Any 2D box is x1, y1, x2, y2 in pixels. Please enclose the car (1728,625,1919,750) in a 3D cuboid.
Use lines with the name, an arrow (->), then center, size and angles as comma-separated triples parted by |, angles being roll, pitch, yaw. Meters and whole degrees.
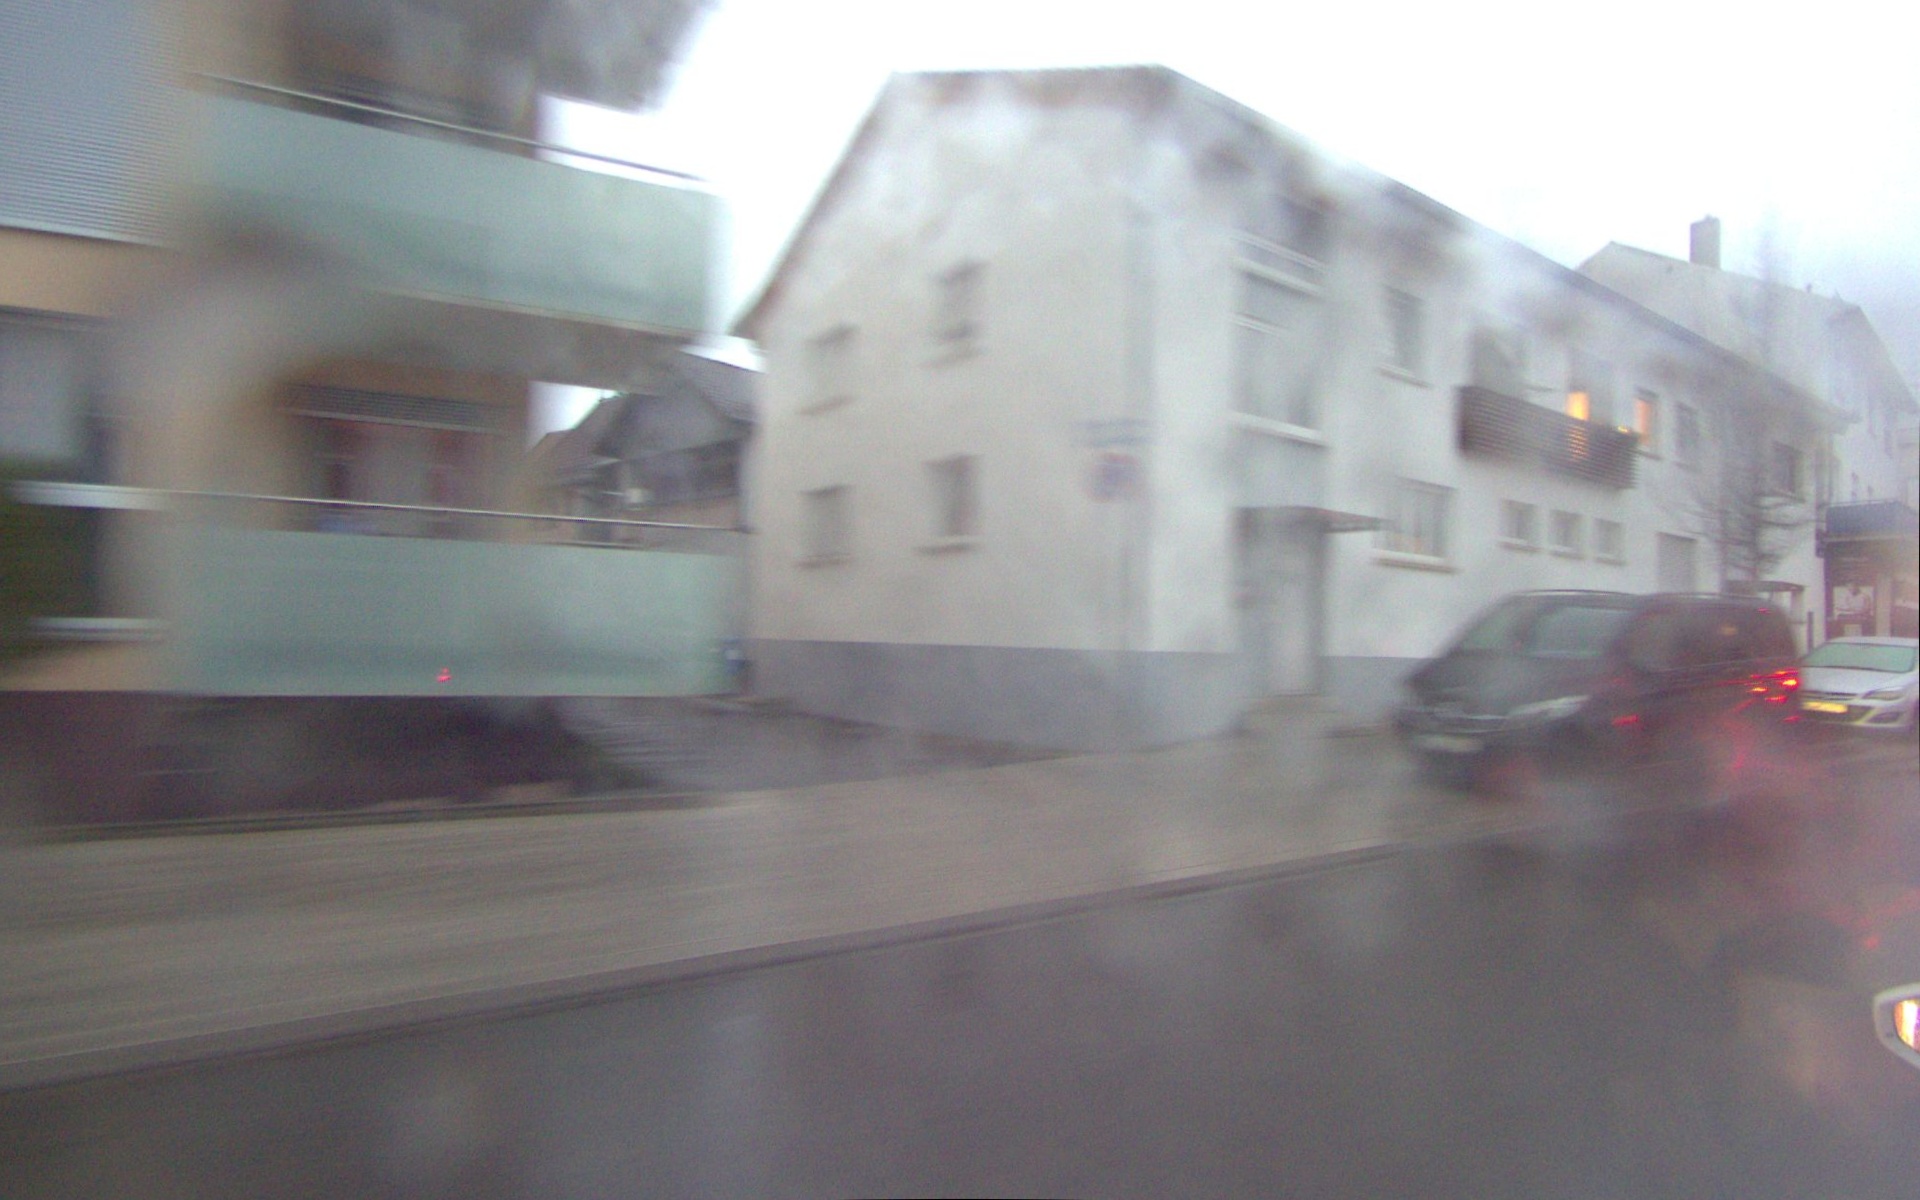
car -> 14.135, 1.245, 15.685 | 4.497, 1.550, 1.901 | 1, 3, -32
